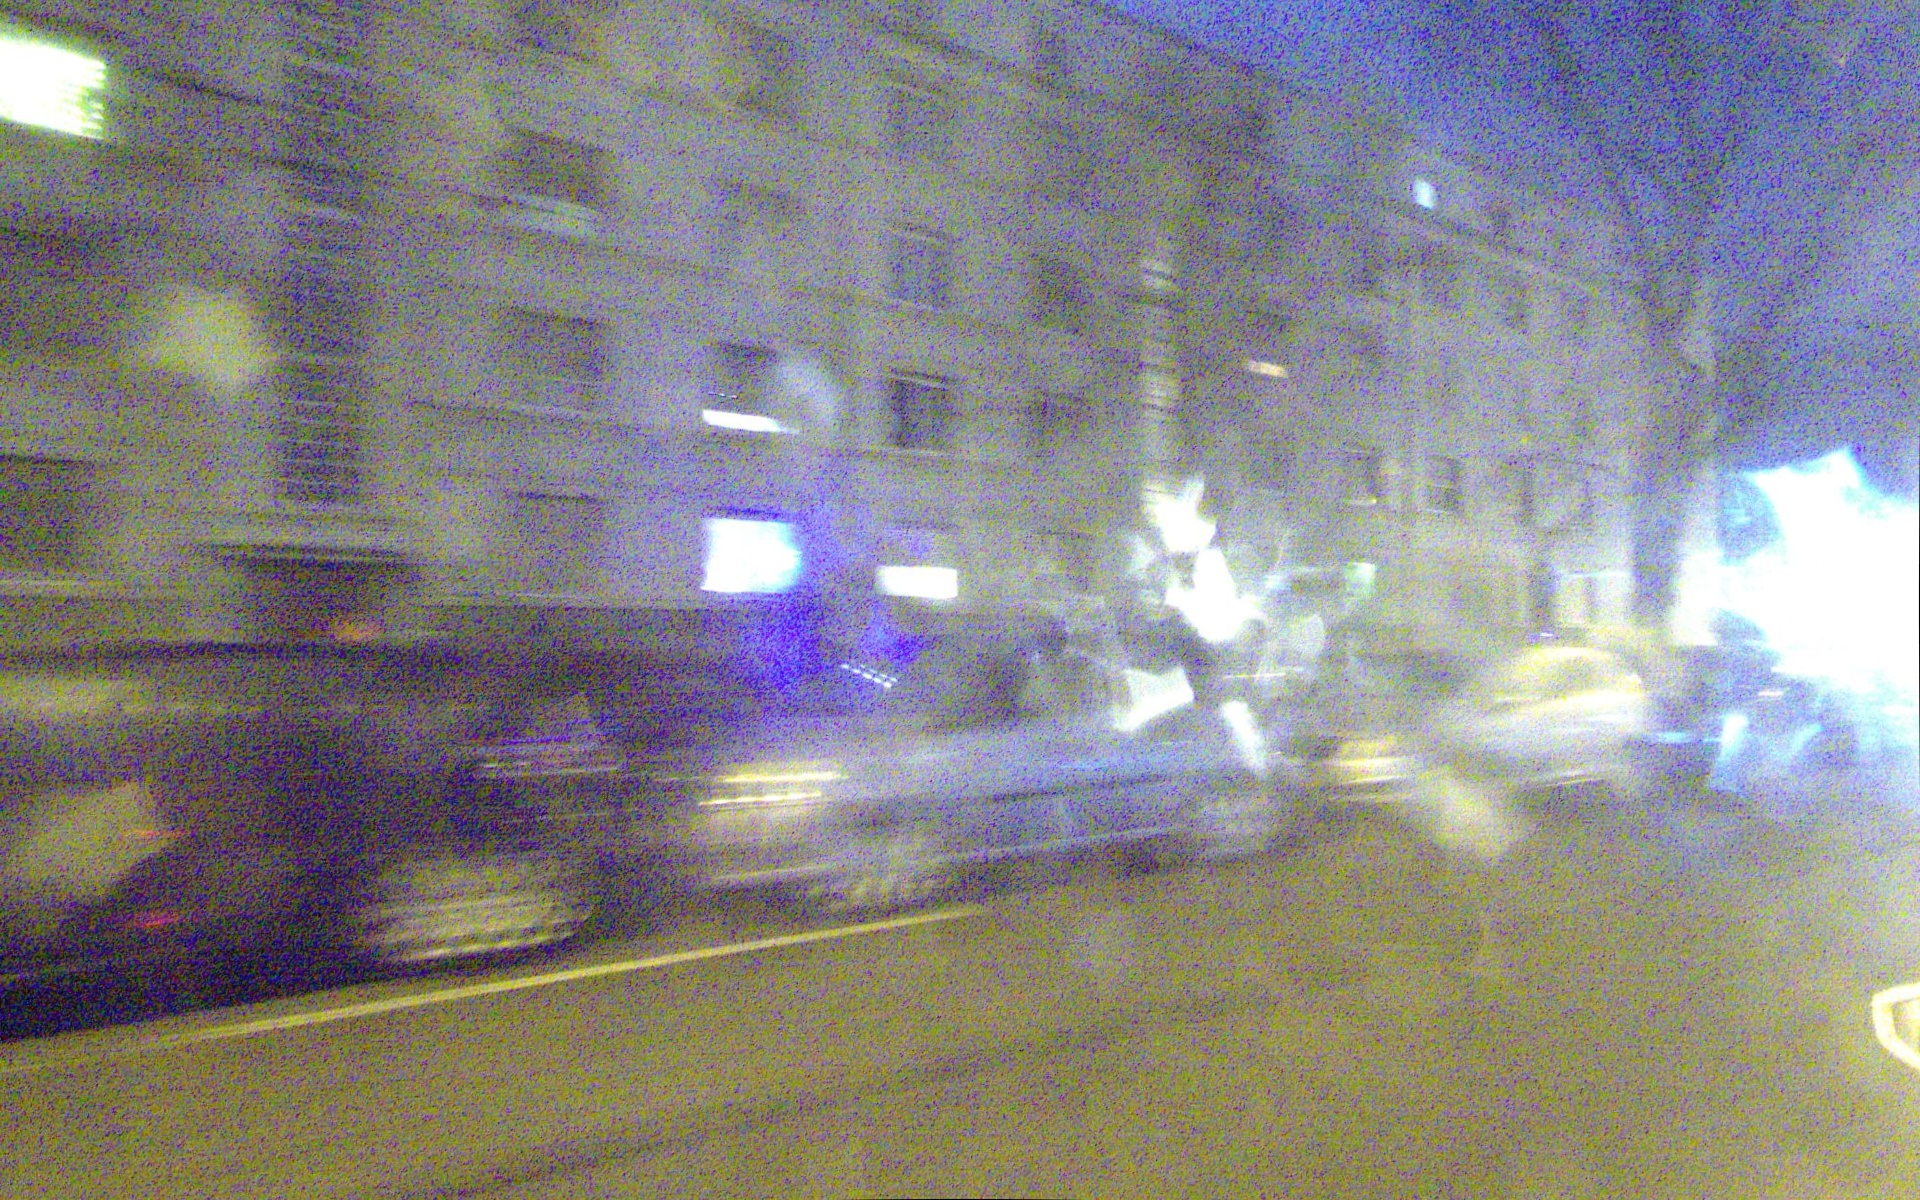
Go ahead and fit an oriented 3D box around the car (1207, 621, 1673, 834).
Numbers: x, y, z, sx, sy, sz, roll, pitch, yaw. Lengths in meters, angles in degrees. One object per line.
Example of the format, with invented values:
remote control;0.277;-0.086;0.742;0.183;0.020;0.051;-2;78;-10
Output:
car;4.336;1.029;8.922;4.224;1.505;1.591;2;-5;-30

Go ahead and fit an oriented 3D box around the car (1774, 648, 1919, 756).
car;13.909;1.443;14.724;4.302;1.390;1.591;2;-5;-30

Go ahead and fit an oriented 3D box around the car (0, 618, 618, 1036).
car;-3.669;0.855;4.256;3.960;1.450;1.590;2;-6;-32

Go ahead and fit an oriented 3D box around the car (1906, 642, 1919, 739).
car;17.924;1.482;16.959;4.328;1.584;1.591;2;-5;-30

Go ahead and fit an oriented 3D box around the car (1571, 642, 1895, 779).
car;9.232;1.243;11.937;4.019;1.390;1.591;2;-5;-30

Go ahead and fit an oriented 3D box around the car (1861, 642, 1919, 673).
car;45.838;2.777;48.340;3.849;1.450;1.716;1;-2;-11

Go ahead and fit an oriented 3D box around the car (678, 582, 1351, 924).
car;0.465;0.846;6.571;4.208;1.625;1.591;2;-5;-30

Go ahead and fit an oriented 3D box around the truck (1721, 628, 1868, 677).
truck;35.803;2.221;43.128;5.170;2.040;2.125;0;-2;-13
